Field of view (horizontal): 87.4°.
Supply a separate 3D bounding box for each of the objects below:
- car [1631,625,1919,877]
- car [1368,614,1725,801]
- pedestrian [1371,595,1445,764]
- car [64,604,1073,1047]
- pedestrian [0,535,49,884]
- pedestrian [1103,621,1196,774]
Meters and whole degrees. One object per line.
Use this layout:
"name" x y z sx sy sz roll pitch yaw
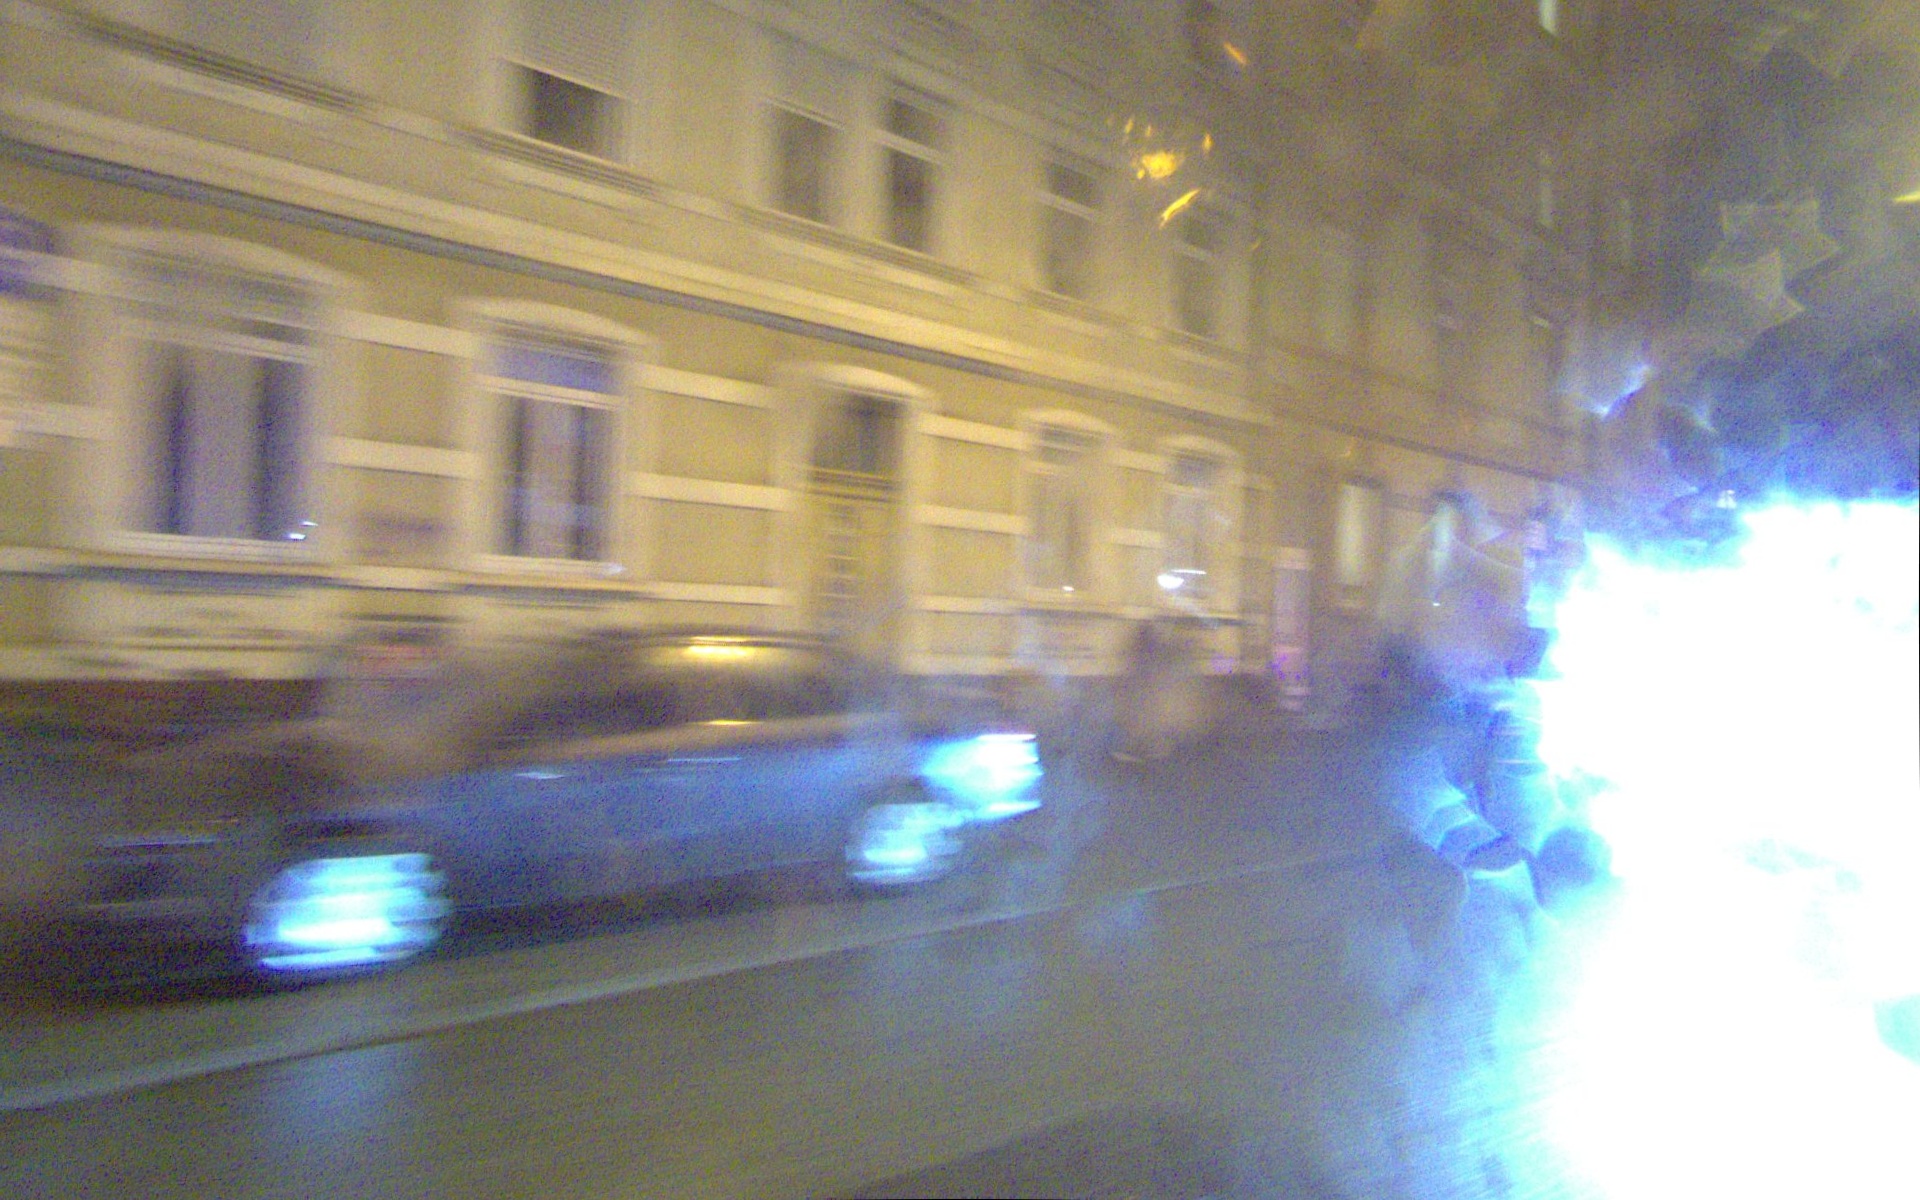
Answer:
"car" 7.659 1.086 8.489 4.532 1.639 1.907 2 -4 -37
"car" 6.797 1.098 11.461 4.550 1.739 1.820 3 -2 -36
"pedestrian" 5.605 0.964 12.564 0.647 2.000 0.768 3 0 33
"car" -1.693 0.857 5.502 4.550 1.506 1.820 3 -2 -36
"pedestrian" -5.548 0.549 5.247 0.976 1.828 0.739 3 0 -32
"pedestrian" 2.090 1.041 11.064 0.648 1.573 0.759 3 0 40
